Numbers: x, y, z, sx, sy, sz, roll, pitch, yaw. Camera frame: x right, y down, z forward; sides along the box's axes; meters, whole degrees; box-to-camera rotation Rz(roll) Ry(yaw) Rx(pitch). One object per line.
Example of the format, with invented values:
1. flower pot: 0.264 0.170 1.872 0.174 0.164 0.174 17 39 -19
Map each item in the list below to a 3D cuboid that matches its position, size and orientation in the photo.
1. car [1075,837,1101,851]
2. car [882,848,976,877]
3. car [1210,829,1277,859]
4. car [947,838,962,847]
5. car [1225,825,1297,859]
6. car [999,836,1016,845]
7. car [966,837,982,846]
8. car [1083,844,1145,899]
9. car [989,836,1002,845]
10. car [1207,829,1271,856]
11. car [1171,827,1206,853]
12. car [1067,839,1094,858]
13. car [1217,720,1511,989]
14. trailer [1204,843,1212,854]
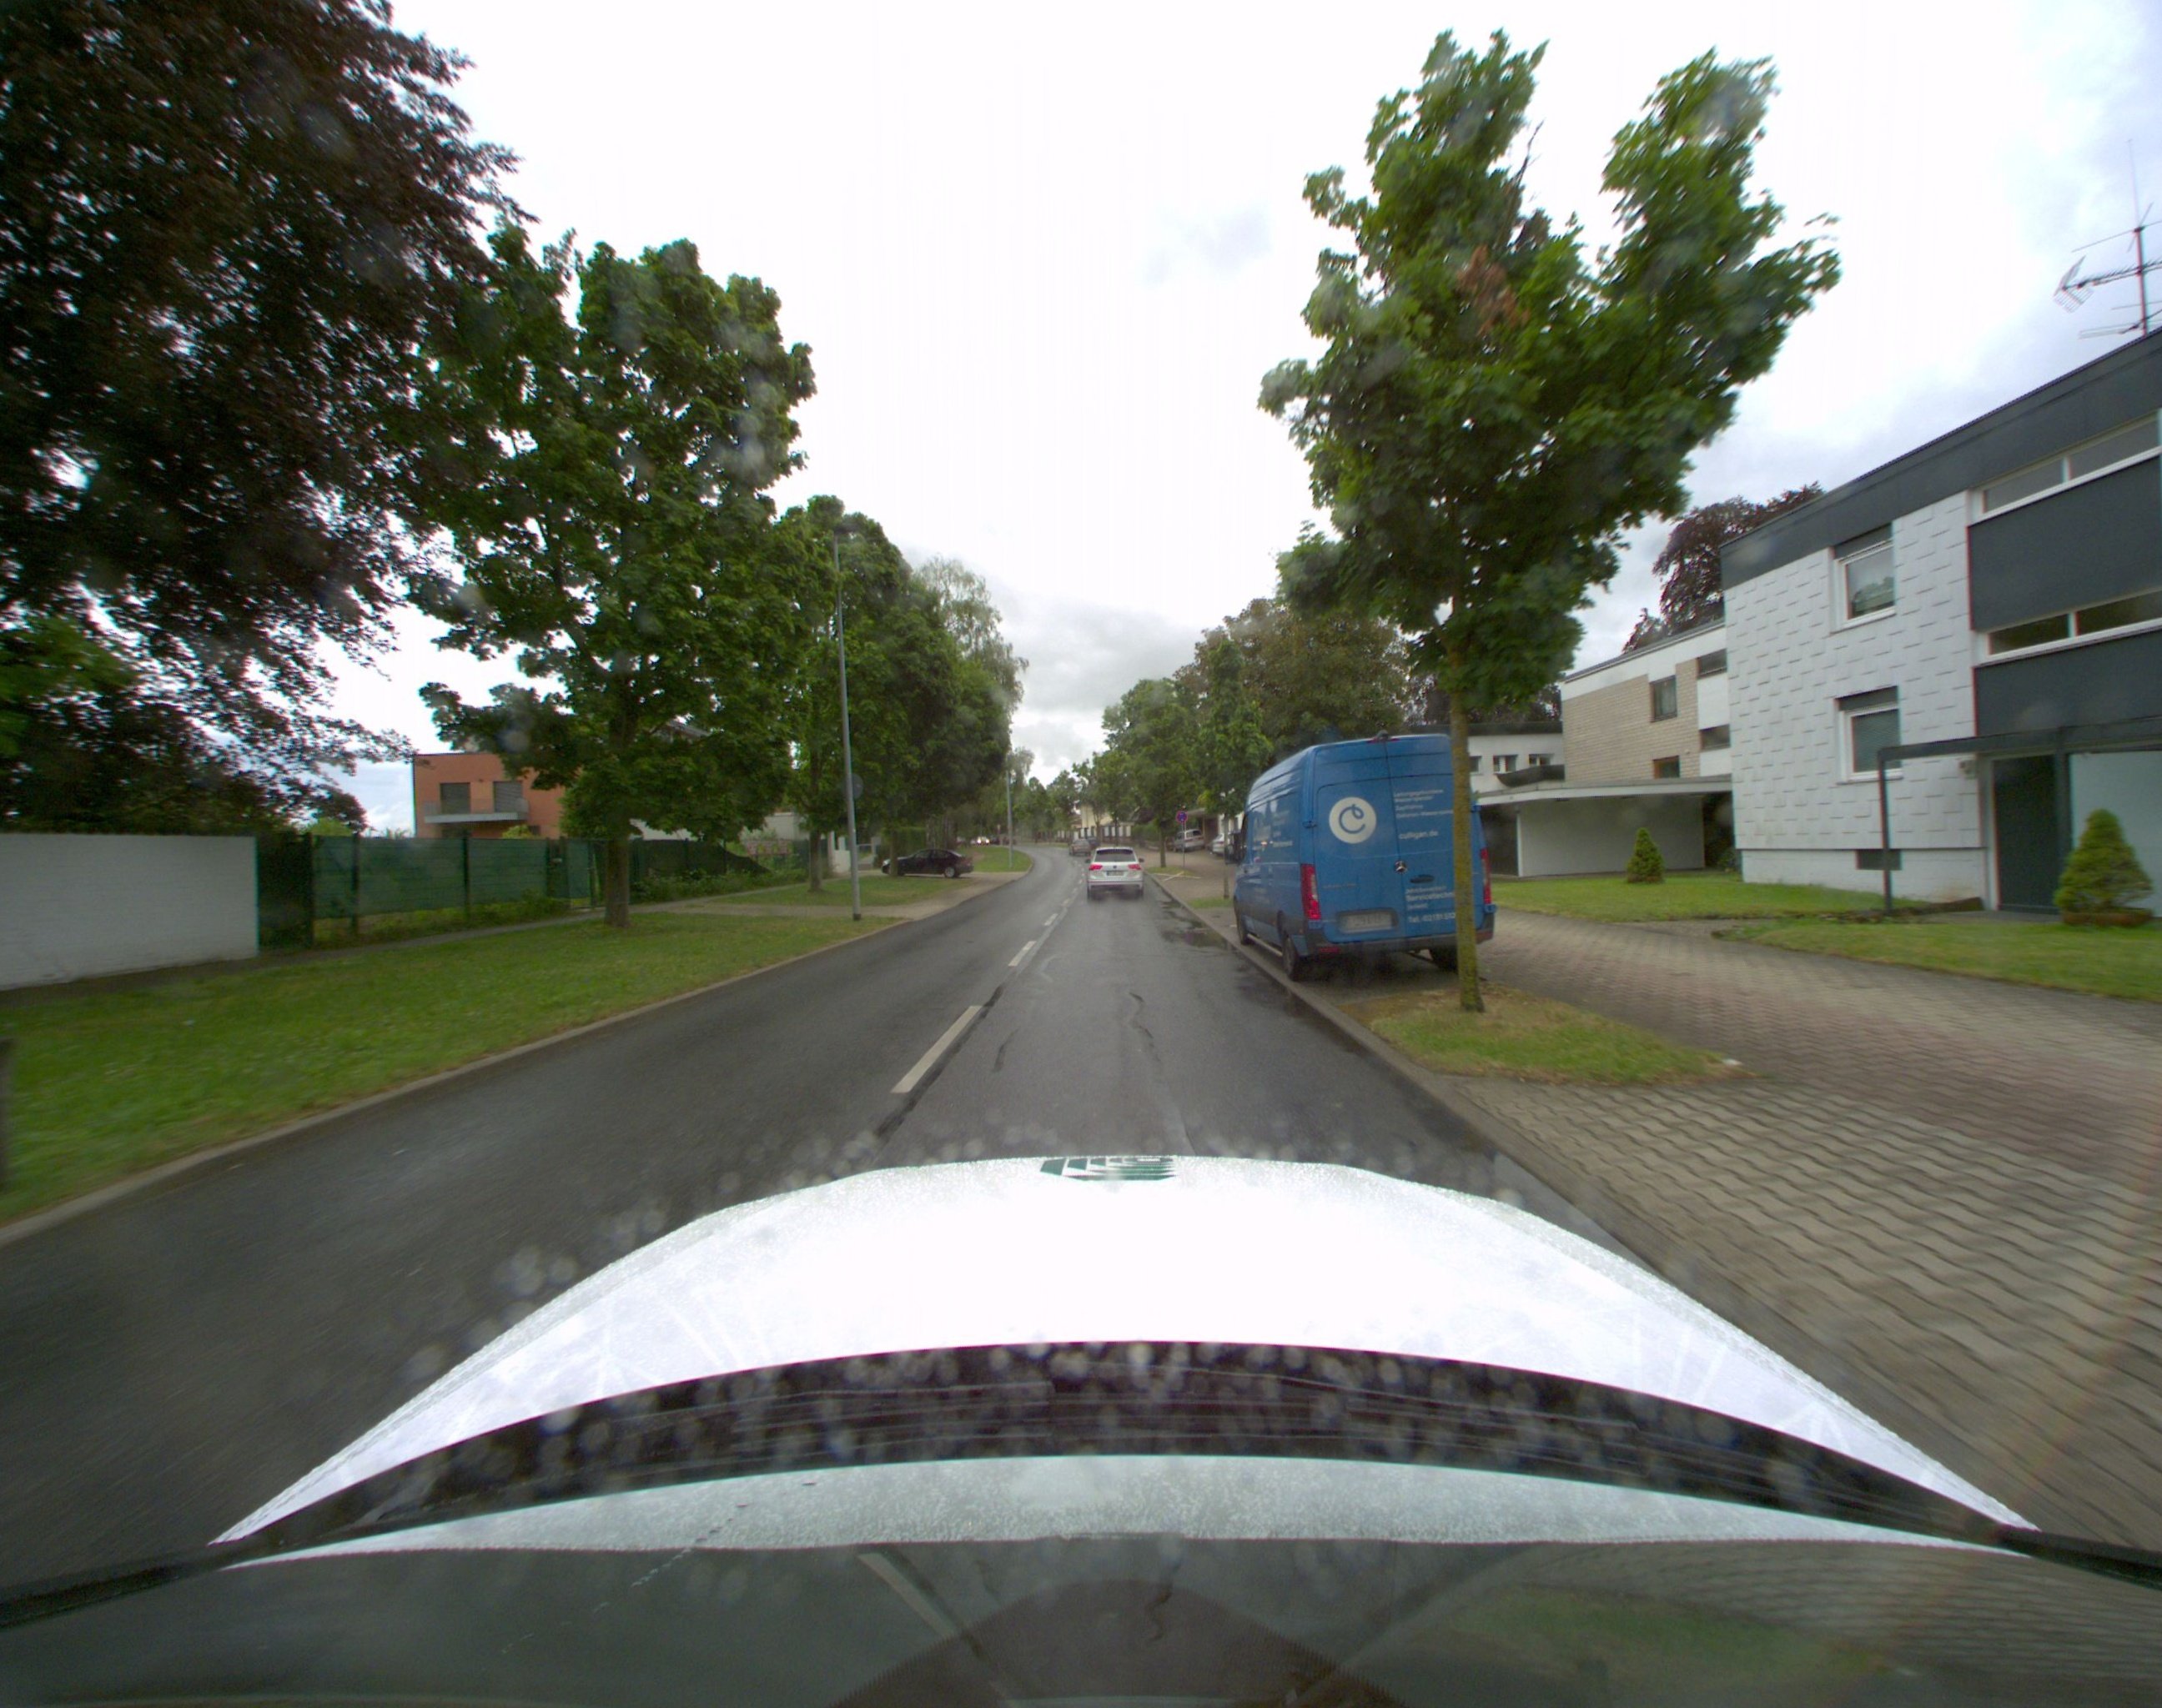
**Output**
1. car: 0.696 -1.064 85.141 1.647 1.427 3.977 -1 1 -17
2. car: -7.428 0.411 40.085 4.197 1.363 1.693 -1 0 6
3. car: 10.471 -0.677 52.655 3.977 1.811 1.828 -1 2 -3
4. car: -20.909 -1.962 134.320 1.772 1.427 3.976 -1 1 -18
5. car: 11.088 -0.767 50.297 3.977 2.013 1.828 -1 2 -3
6. car: -11.283 -2.058 125.076 1.648 1.427 3.973 -1 1 -20
7. car: -17.121 -2.027 130.407 1.772 1.427 3.976 -1 1 -18
8. car: 1.097 0.522 27.349 1.858 1.650 4.002 -2 0 2
9. car: -14.911 -2.356 141.910 1.645 1.427 3.980 -1 1 -15
10. car: 10.742 -0.783 55.624 3.977 1.708 1.828 -1 2 -3
11. car: 8.712 -1.166 66.384 1.820 1.703 3.996 -11 3 -3
12. car: -0.073 -0.490 73.002 1.769 1.551 3.986 -2 0 -10
13. car: 3.327 -0.008 11.039 1.986 2.586 5.635 -4 0 1
14. trailer: 9.215 -0.414 58.980 0.416 0.756 1.368 -1 0 3
